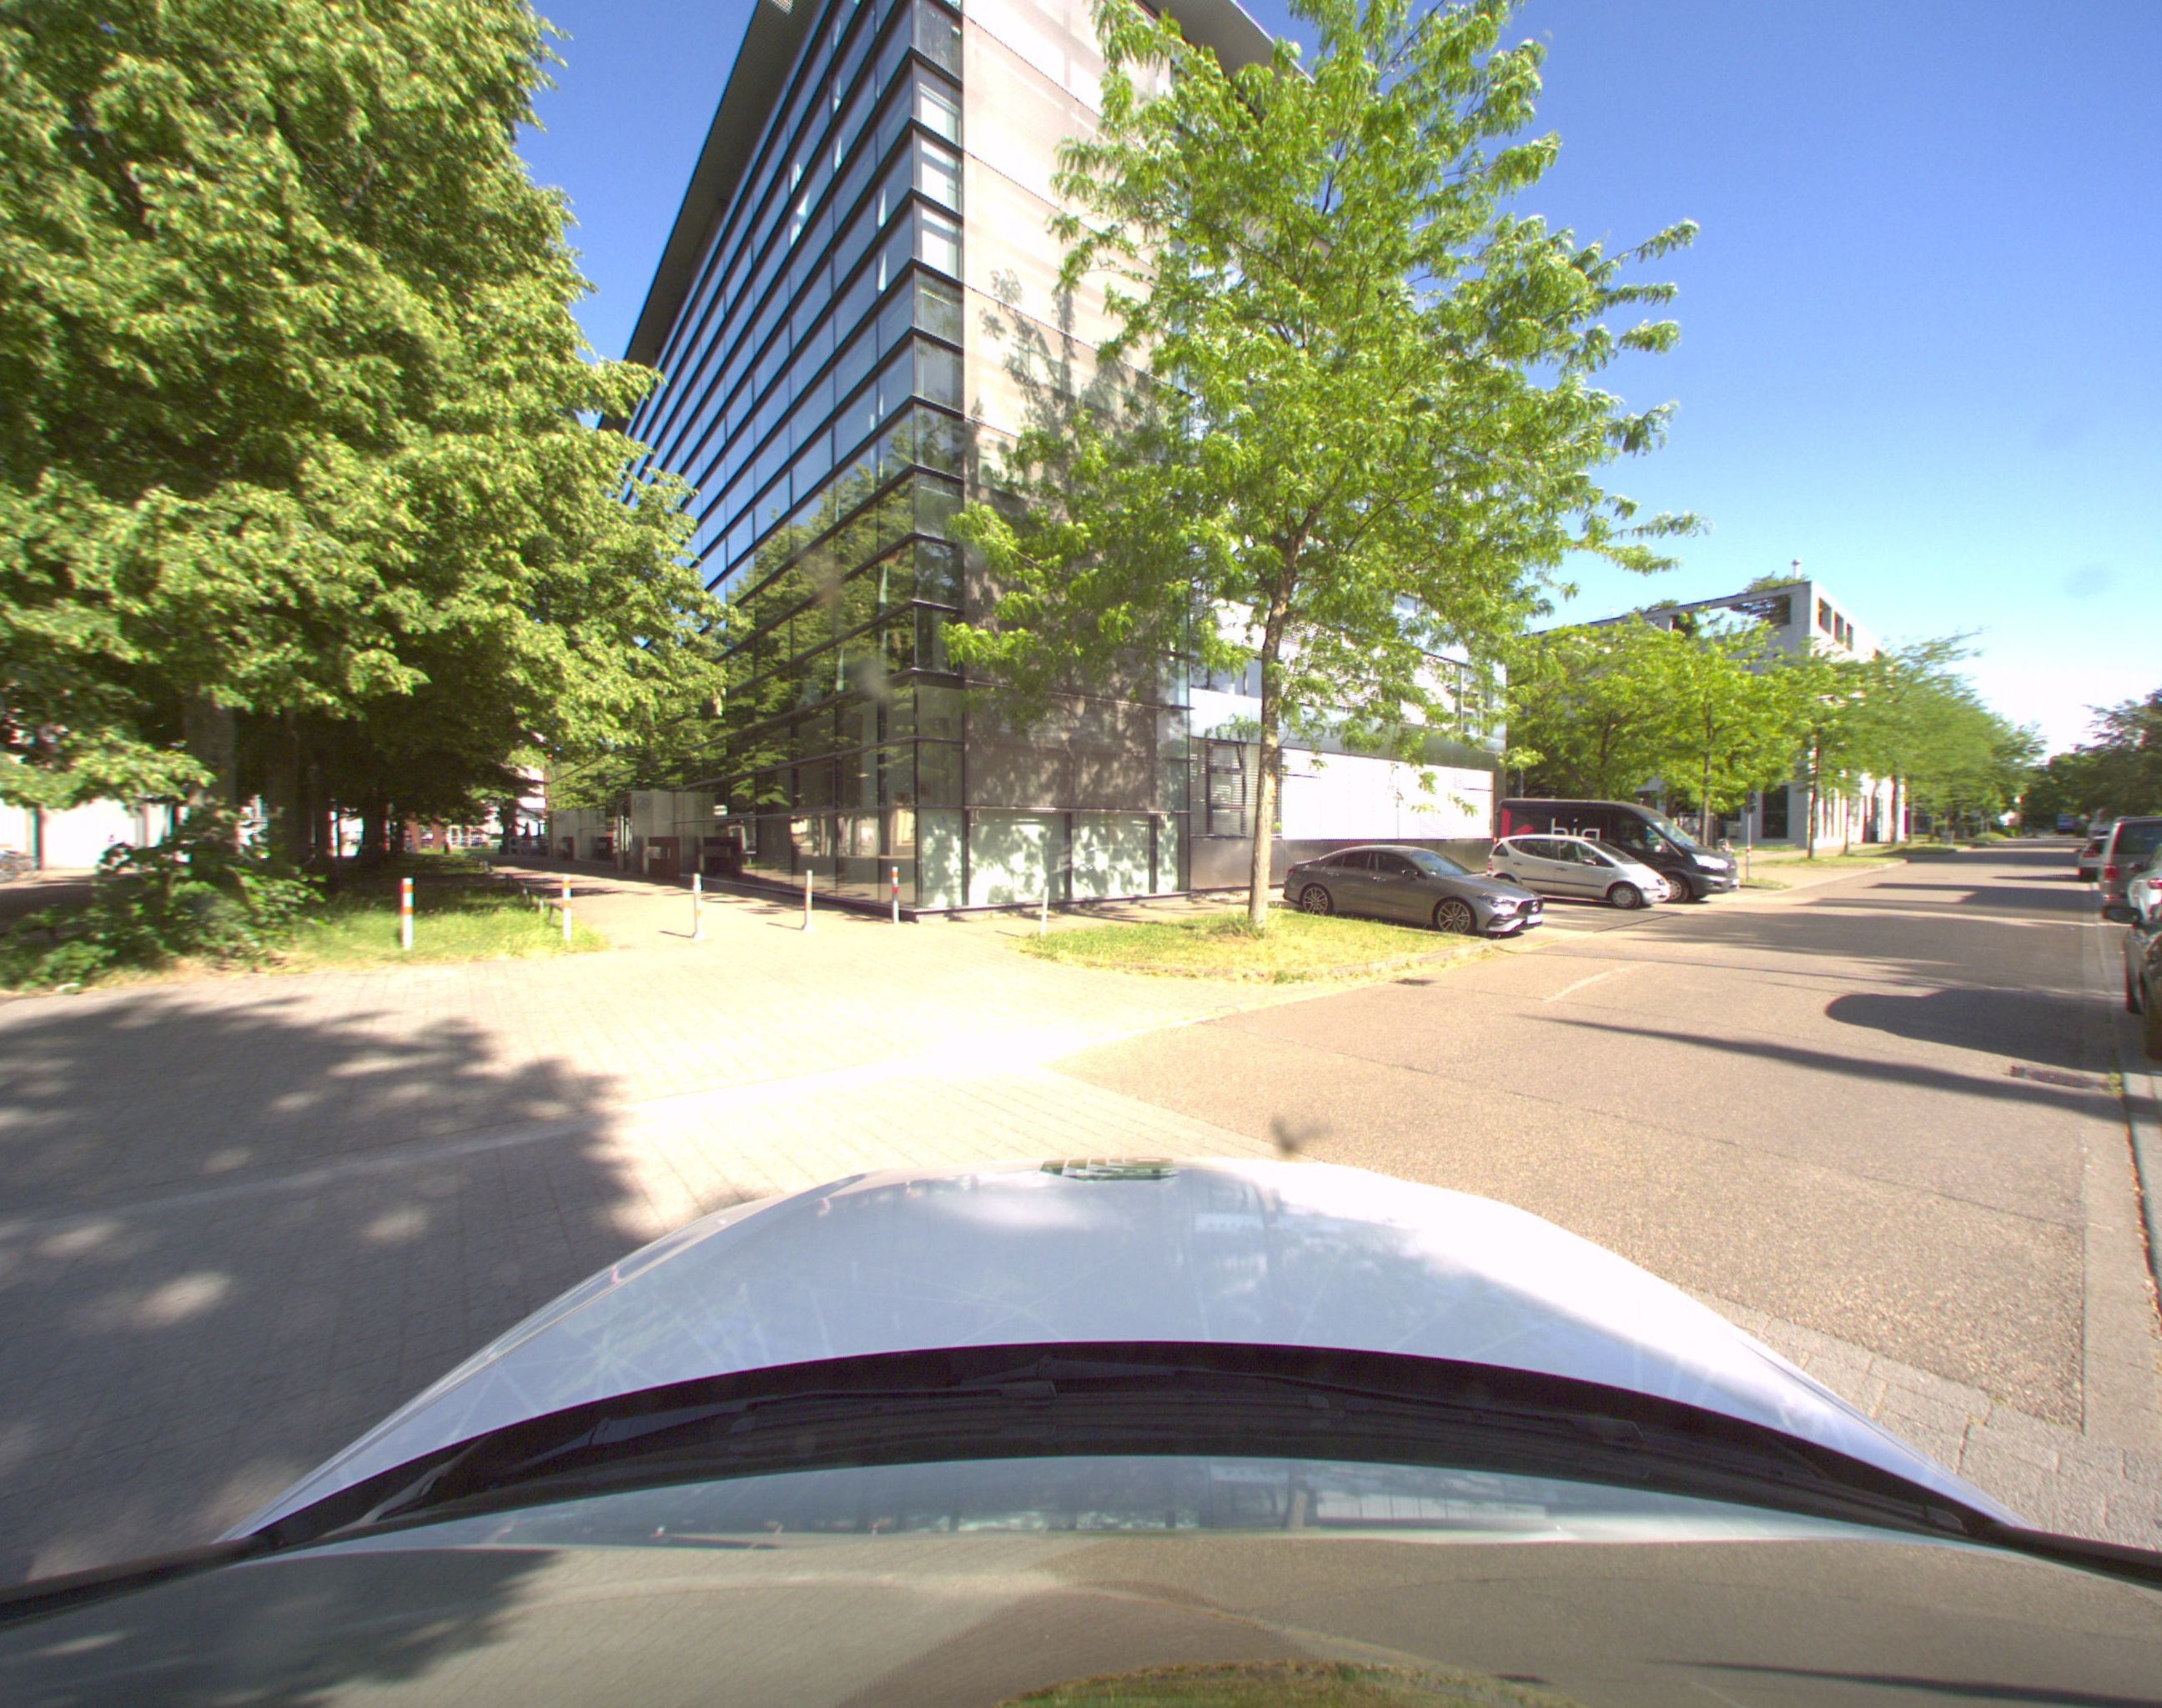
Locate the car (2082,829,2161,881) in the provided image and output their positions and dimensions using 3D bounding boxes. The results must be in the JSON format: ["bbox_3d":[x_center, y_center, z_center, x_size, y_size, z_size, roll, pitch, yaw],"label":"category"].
[{"bbox_3d":[33.813,-0.027,26.376,3.953,1.561,1.646,-2,2,-38],"label":"car"}]

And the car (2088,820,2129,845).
[{"bbox_3d":[84.244,-1.773,66.805,4.019,1.834,1.977,-2,-1,-38],"label":"car"}]

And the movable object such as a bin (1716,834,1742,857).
[{"bbox_3d":[33.993,-0.458,42.703,1.945,1.181,0.657,-2,2,-38],"label":"movable object such as a bin"}]

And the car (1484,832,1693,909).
[{"bbox_3d":[11.986,0.304,19.419,1.901,1.645,3.800,-1,2,-38],"label":"car"}]

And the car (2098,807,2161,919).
[{"bbox_3d":[21.567,0.129,16.002,4.849,2.022,1.927,-1,0,-39],"label":"car"}]

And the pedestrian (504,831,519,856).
[{"bbox_3d":[-35.211,-0.671,50.386,0.721,1.550,0.683,-1,2,-32],"label":"pedestrian"}]

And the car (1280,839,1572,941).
[{"bbox_3d":[6.054,0.503,14.795,1.901,1.350,4.499,-1,4,-39],"label":"car"}]

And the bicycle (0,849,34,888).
[{"bbox_3d":[-30.475,0.417,21.853,2.825,1.063,0.710,-1,2,-43],"label":"bicycle"}]

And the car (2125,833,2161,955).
[{"bbox_3d":[16.623,0.501,11.756,4.315,1.629,1.810,-1,0,-39],"label":"car"}]

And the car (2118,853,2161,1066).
[{"bbox_3d":[9.657,0.746,6.466,3.783,1.472,1.638,-1,0,-40],"label":"car"}]

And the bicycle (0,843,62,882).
[{"bbox_3d":[-33.035,0.266,24.583,2.755,1.150,0.710,-1,2,-43],"label":"bicycle"}]

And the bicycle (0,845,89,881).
[{"bbox_3d":[-34.671,0.284,26.622,2.755,1.150,0.710,-1,2,-43],"label":"bicycle"}]

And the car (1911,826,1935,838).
[{"bbox_3d":[103.956,-2.726,100.538,3.813,1.341,1.889,-2,2,-41],"label":"car"}]

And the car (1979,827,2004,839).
[{"bbox_3d":[107.142,-2.455,95.823,3.813,1.458,1.976,-1,2,-41],"label":"car"}]

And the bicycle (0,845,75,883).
[{"bbox_3d":[-33.451,0.296,25.250,2.755,1.150,0.710,-1,2,-43],"label":"bicycle"}]

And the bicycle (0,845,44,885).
[{"bbox_3d":[-32.095,0.325,23.355,2.825,1.150,0.710,-1,2,-43],"label":"bicycle"}]

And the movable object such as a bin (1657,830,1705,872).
[{"bbox_3d":[20.543,-0.119,27.914,1.281,1.413,1.235,1,2,34],"label":"movable object such as a bin"}]

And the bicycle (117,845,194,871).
[{"bbox_3d":[-38.827,0.154,34.205,2.074,1.066,0.501,-1,2,-37],"label":"bicycle"}]

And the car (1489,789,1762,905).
[{"bbox_3d":[13.919,-0.307,21.188,2.243,2.622,5.411,-1,4,-39],"label":"car"}]
